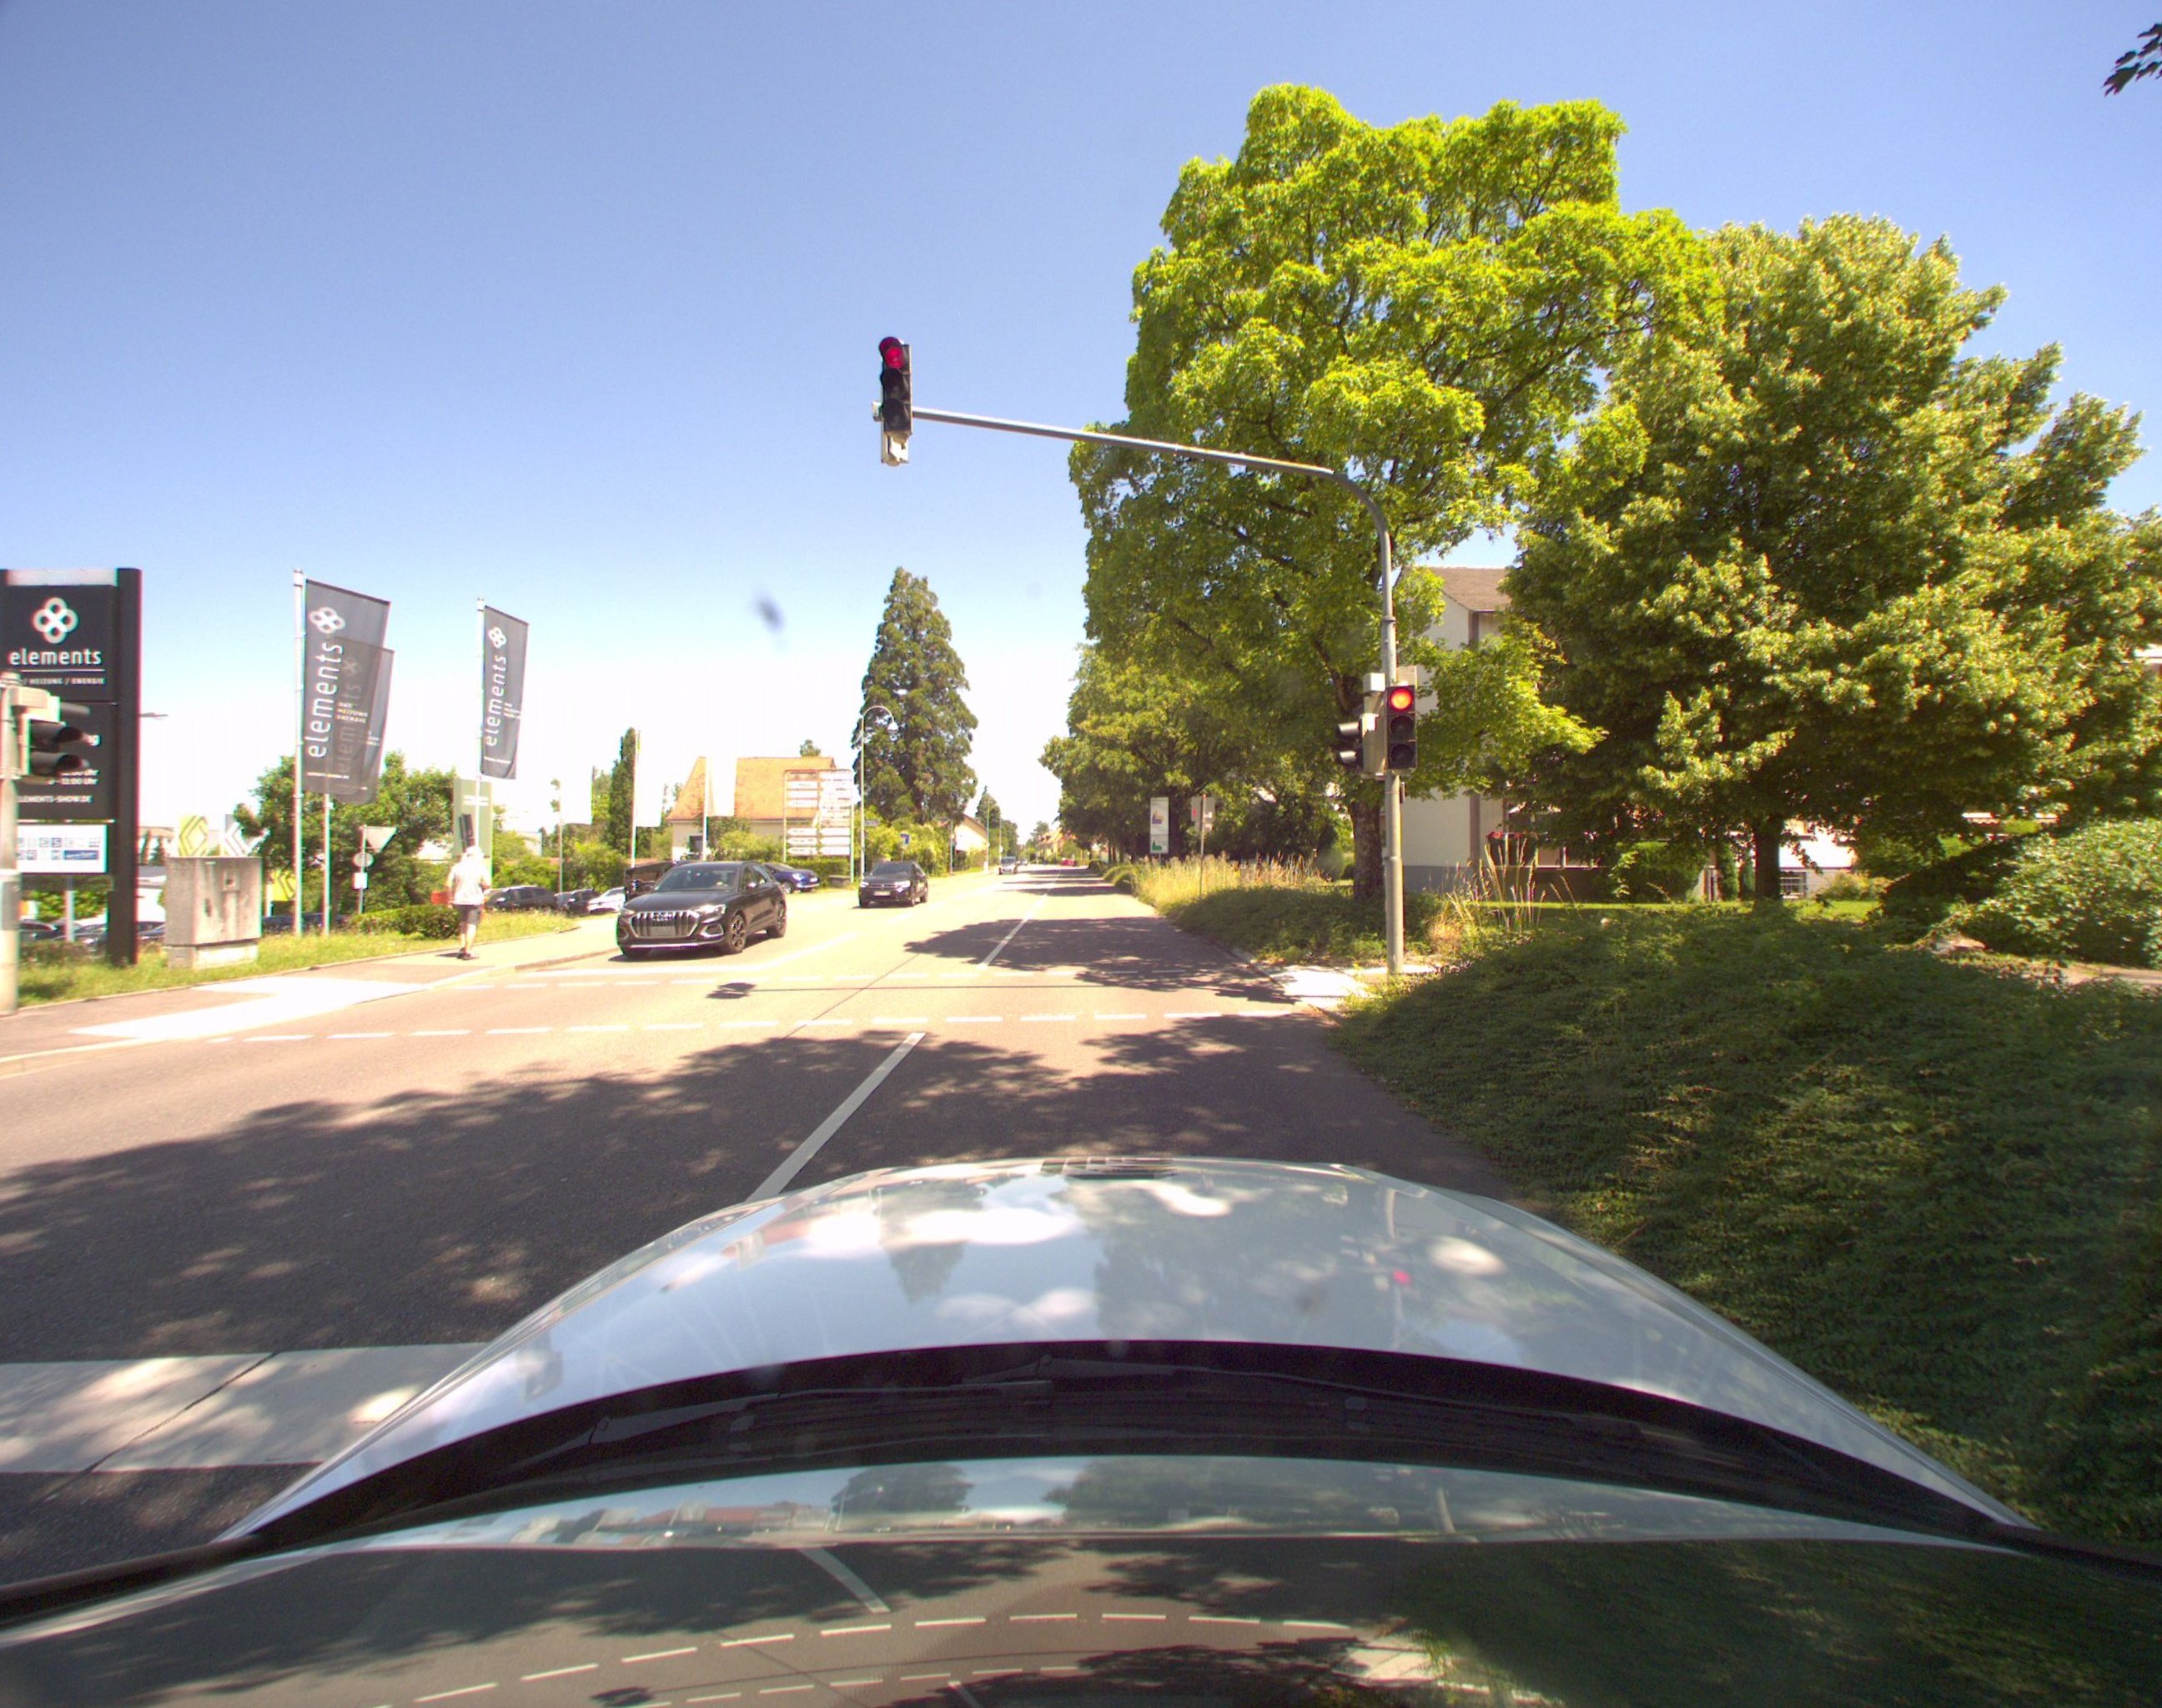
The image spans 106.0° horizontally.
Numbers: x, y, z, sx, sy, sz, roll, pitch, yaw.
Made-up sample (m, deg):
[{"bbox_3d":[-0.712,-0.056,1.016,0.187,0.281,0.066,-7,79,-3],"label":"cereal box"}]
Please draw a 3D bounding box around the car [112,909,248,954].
[{"bbox_3d":[-37.119,3.147,33.707,1.754,1.486,3.983,-1,0,-12],"label":"car"}]

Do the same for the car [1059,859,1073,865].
[{"bbox_3d":[-3.296,1.750,174.515,1.948,1.359,4.438,-1,0,-16],"label":"car"}]

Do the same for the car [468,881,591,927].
[{"bbox_3d":[-23.358,2.058,34.695,1.795,1.722,4.106,-1,0,16],"label":"car"}]

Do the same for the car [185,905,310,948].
[{"bbox_3d":[-34.349,2.930,33.699,1.648,1.415,3.854,-1,0,-10],"label":"car"}]

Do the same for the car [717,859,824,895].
[{"bbox_3d":[-13.927,1.026,36.637,4.109,1.504,1.782,-1,0,10],"label":"car"}]

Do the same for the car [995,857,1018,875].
[{"bbox_3d":[-7.477,1.148,82.567,1.804,1.762,4.571,0,0,1],"label":"car"}]

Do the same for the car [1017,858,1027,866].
[{"bbox_3d":[-11.946,1.649,166.081,1.788,1.536,4.313,-1,0,-1],"label":"car"}]

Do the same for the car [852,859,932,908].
[{"bbox_3d":[-6.310,0.949,27.634,1.864,1.507,4.049,-1,0,-2],"label":"car"}]

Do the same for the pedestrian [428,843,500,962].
[{"bbox_3d":[-9.483,0.719,12.521,0.538,1.761,0.706,-1,-1,28],"label":"pedestrian"}]

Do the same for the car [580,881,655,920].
[{"bbox_3d":[-23.328,2.286,41.173,1.806,1.722,4.081,0,0,-6],"label":"car"}]

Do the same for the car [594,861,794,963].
[{"bbox_3d":[-6.880,0.940,15.055,1.923,1.555,4.295,-1,0,-5],"label":"car"}]

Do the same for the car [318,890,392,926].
[{"bbox_3d":[-40.145,2.967,45.143,1.816,1.722,4.059,0,0,-22],"label":"car"}]
